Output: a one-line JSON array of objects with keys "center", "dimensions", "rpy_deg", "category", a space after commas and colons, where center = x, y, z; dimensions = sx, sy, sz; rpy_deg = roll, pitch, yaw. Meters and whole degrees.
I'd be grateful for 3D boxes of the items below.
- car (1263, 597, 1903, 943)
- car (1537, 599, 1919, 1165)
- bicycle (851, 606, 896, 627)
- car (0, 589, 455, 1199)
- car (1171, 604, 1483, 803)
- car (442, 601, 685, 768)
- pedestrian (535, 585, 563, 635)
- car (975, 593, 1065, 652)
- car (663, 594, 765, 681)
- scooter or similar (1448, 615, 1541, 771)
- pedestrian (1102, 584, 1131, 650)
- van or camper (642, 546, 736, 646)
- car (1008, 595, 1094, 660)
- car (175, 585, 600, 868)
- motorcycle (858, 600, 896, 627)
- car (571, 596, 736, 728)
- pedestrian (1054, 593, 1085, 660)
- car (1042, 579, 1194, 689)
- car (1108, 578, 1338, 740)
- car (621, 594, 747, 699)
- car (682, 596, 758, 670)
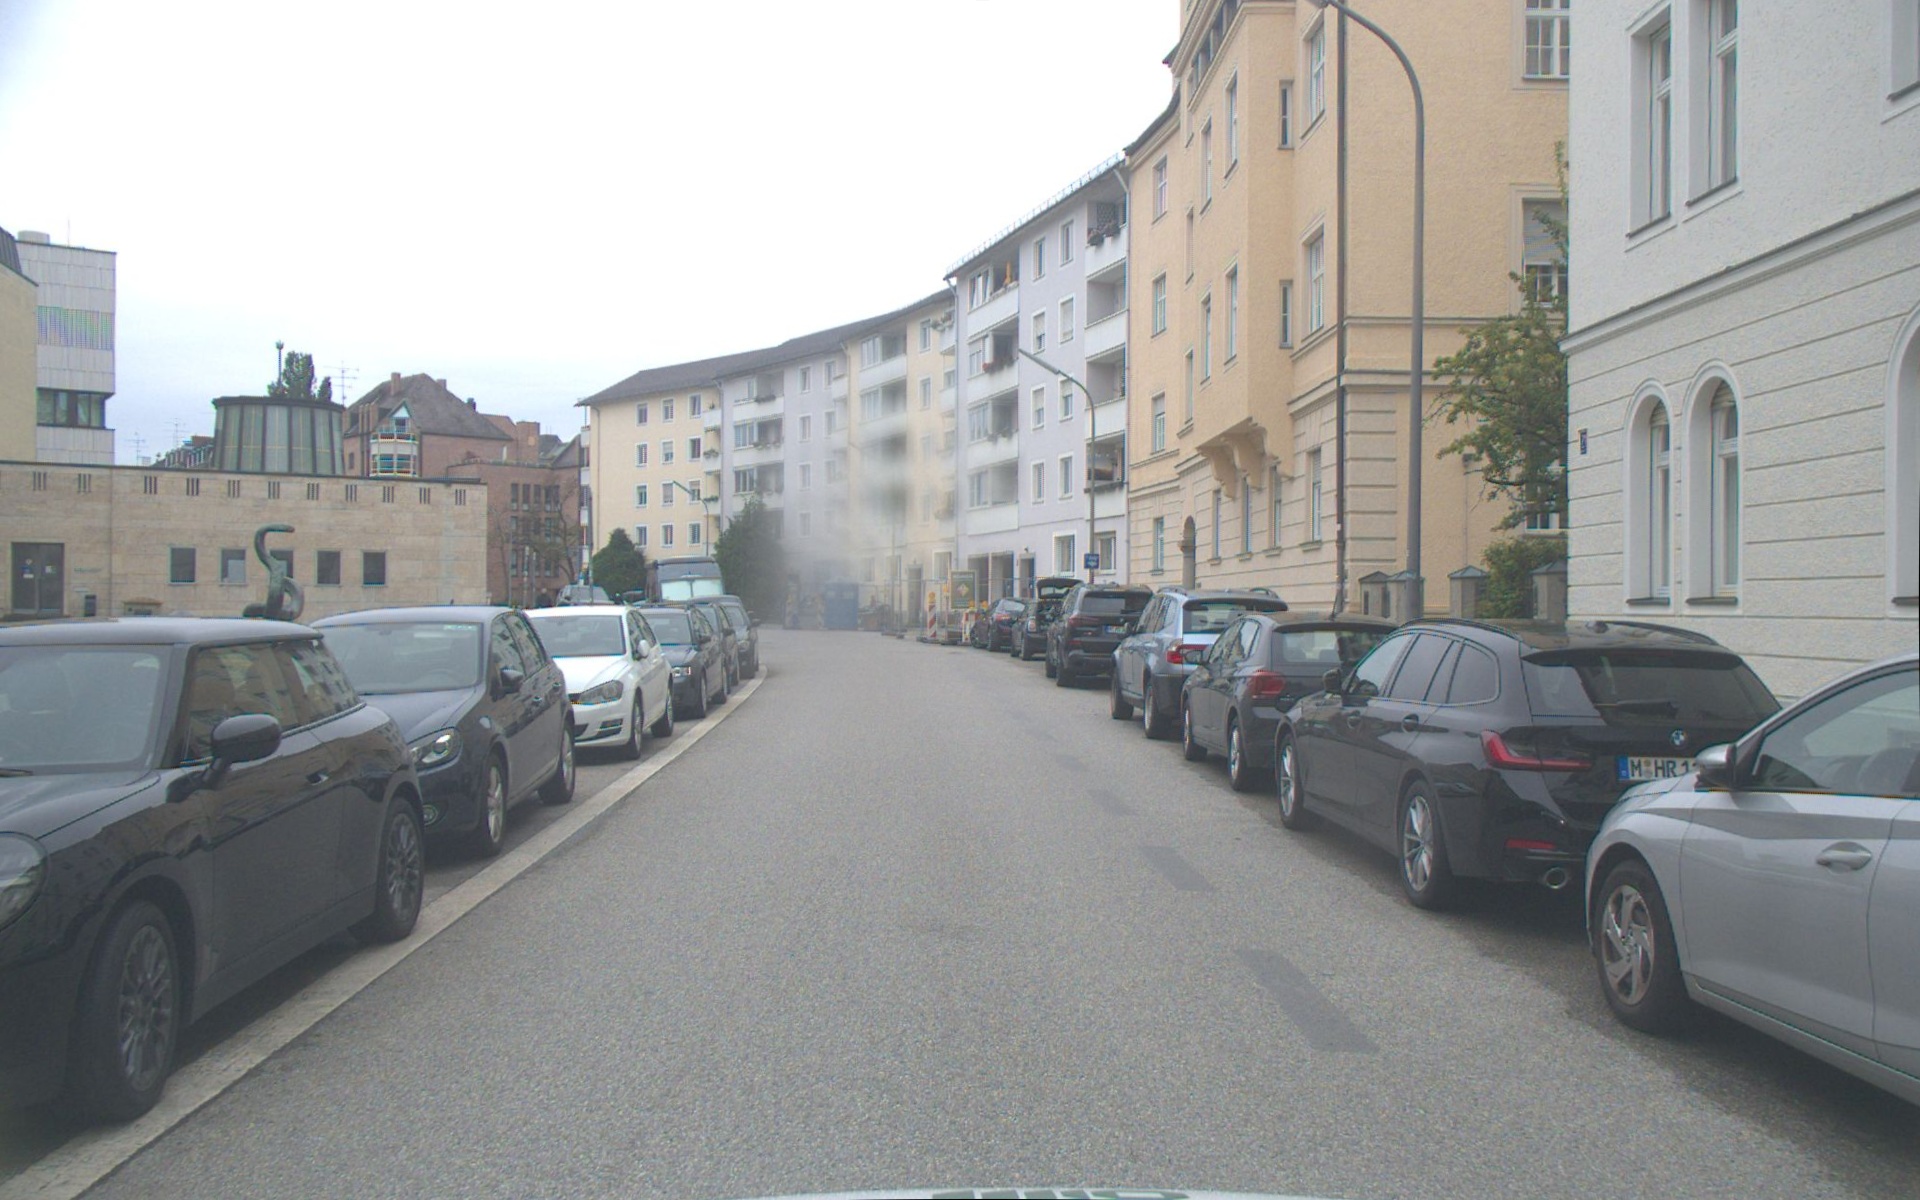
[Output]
[{"center": [3.202, 0.755, 9.678], "dimensions": [1.838, 1.475, 4.676], "rpy_deg": [1, 0, -2], "category": "car"}, {"center": [3.371, 0.769, 4.874], "dimensions": [1.690, 1.475, 4.185], "rpy_deg": [1, 0, -3], "category": "car"}, {"center": [-4.530, 0.845, 86.616], "dimensions": [2.205, 1.088, 0.912], "rpy_deg": [1, 0, -26], "category": "bicycle"}, {"center": [-3.142, 0.741, 5.852], "dimensions": [1.598, 1.520, 3.819], "rpy_deg": [-1, 0, -1], "category": "car"}, {"center": [3.114, 0.812, 14.883], "dimensions": [1.790, 1.475, 4.083], "rpy_deg": [1, 0, -1], "category": "car"}, {"center": [-3.892, 0.752, 16.901], "dimensions": [1.706, 1.447, 4.291], "rpy_deg": [-1, 0, -4], "category": "car"}, {"center": [-15.553, 0.373, 62.562], "dimensions": [0.833, 1.899, 0.707], "rpy_deg": [1, 0, -30], "category": "pedestrian"}, {"center": [1.626, 0.588, 46.399], "dimensions": [1.871, 1.503, 4.941], "rpy_deg": [1, 0, -5], "category": "car"}, {"center": [-4.705, 0.667, 32.099], "dimensions": [1.740, 1.491, 4.460], "rpy_deg": [-2, 1, -6], "category": "car"}, {"center": [4.530, 0.767, 14.060], "dimensions": [0.418, 1.251, 1.047], "rpy_deg": [1, 0, -1], "category": "scooter or similar"}, {"center": [4.250, 0.457, 44.929], "dimensions": [0.605, 1.720, 0.919], "rpy_deg": [-3, 0, -2], "category": "pedestrian"}, {"center": [-7.797, -0.138, 47.113], "dimensions": [2.257, 2.626, 6.066], "rpy_deg": [1, 1, -13], "category": "van or camper"}, {"center": [2.171, 0.630, 40.147], "dimensions": [1.599, 1.442, 3.676], "rpy_deg": [1, 0, -4], "category": "car"}, {"center": [-3.532, 0.682, 10.988], "dimensions": [1.598, 1.520, 4.098], "rpy_deg": [1, 0, -3], "category": "car"}, {"center": [-3.945, 0.639, 78.612], "dimensions": [0.920, 1.242, 2.487], "rpy_deg": [1, 0, -25], "category": "motorcycle"}, {"center": [-3.996, 0.745, 22.159], "dimensions": [1.598, 1.520, 4.272], "rpy_deg": [-2, 0, -3], "category": "car"}, {"center": [2.541, 0.610, 38.396], "dimensions": [0.616, 1.555, 0.578], "rpy_deg": [1, 0, -3], "category": "pedestrian"}, {"center": [2.749, 0.546, 29.952], "dimensions": [2.126, 1.769, 5.023], "rpy_deg": [1, 0, -1], "category": "car"}, {"center": [2.982, 0.621, 19.692], "dimensions": [1.809, 1.692, 4.496], "rpy_deg": [1, 0, -3], "category": "car"}, {"center": [-4.409, 0.697, 26.854], "dimensions": [1.598, 1.520, 3.601], "rpy_deg": [-2, 0, -4], "category": "car"}, {"center": [-5.180, 0.683, 35.970], "dimensions": [1.490, 1.491, 2.883], "rpy_deg": [-2, 1, -6], "category": "car"}]
